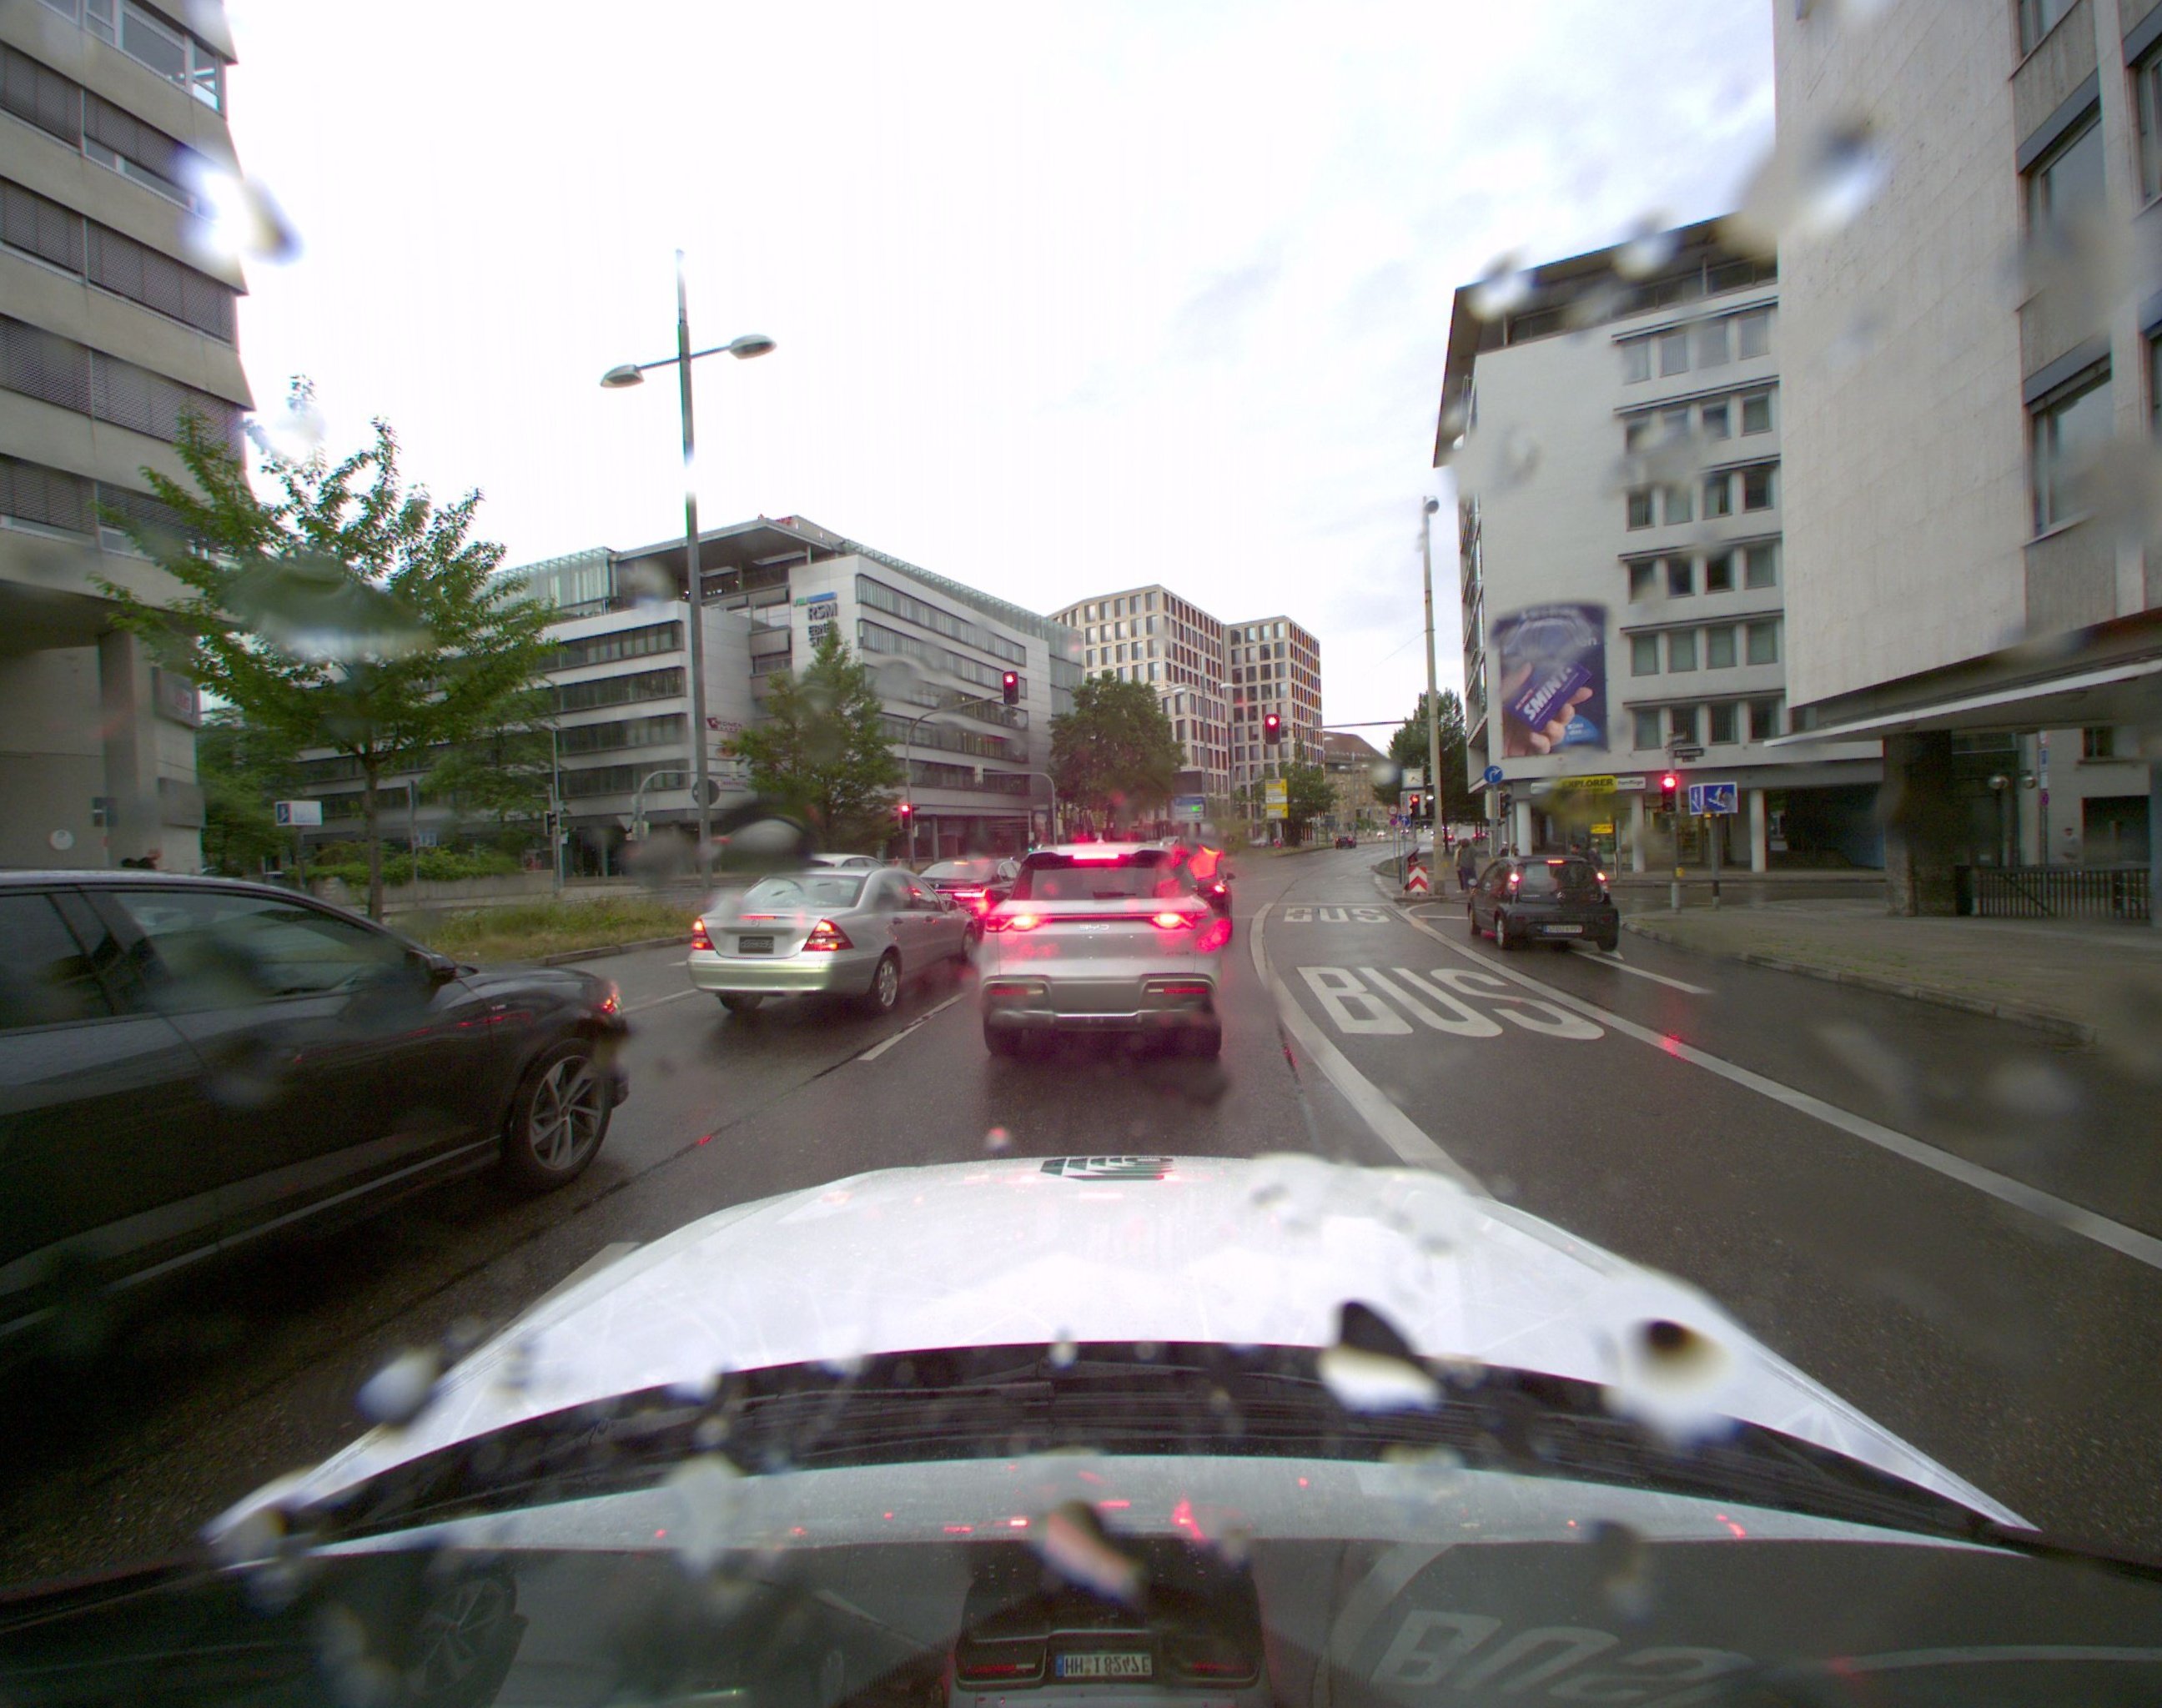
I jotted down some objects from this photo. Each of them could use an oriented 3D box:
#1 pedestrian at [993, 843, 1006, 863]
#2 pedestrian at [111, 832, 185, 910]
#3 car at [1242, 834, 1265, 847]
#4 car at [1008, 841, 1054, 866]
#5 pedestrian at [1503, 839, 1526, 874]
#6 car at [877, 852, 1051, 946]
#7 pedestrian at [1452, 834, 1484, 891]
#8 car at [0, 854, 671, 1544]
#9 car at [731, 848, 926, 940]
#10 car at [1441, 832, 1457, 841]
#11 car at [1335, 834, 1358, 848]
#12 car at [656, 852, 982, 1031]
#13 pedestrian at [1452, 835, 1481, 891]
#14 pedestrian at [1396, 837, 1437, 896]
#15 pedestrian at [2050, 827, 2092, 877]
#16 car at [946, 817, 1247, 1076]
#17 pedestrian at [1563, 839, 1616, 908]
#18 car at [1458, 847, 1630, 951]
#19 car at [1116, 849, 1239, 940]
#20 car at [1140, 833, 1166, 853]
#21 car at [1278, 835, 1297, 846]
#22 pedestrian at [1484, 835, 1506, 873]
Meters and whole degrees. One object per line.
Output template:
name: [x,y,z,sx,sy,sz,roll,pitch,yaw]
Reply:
pedestrian: [-7.300,-0.074,73.011,0.721,1.727,0.930,-1,0,23]
pedestrian: [-22.528,0.394,19.676,0.721,1.832,0.929,-1,0,17]
car: [25.253,-2.016,119.173,1.975,1.705,4.336,-1,2,29]
car: [-3.739,-0.042,62.009,1.976,1.705,4.022,-1,2,21]
pedestrian: [19.461,0.110,36.568,0.721,1.524,0.763,-1,-1,17]
car: [-2.047,0.755,15.570,1.941,1.530,4.014,-1,0,13]
pedestrian: [12.423,0.257,26.164,0.806,1.798,0.714,-1,0,17]
car: [-3.268,0.753,2.456,1.931,1.435,4.285,-2,0,-1]
car: [-4.833,0.696,16.272,1.871,1.596,4.015,-1,0,14]
car: [59.755,-2.808,132.255,1.892,1.510,4.384,0,1,31]
car: [29.534,-1.480,90.671,1.975,1.552,4.023,0,1,25]
car: [-2.539,0.757,9.104,1.672,1.486,4.208,-1,0,9]
pedestrian: [12.712,0.292,26.876,0.721,1.798,0.742,-1,0,17]
pedestrian: [10.173,0.380,24.710,0.920,1.738,0.729,-1,0,-3]
pedestrian: [36.698,-0.066,30.201,0.675,1.798,0.733,-2,-1,23]
car: [0.280,0.605,7.710,1.984,1.709,4.489,-1,1,5]
pedestrian: [13.363,0.502,21.419,0.800,1.755,1.005,0,-1,-44]
car: [7.489,0.645,13.518,1.650,1.473,3.498,-1,0,15]
car: [2.032,0.701,15.971,1.941,1.530,4.014,-1,0,13]
car: [7.991,-1.217,90.451,1.723,2.161,4.516,0,0,20]
car: [34.926,-2.218,137.726,1.975,1.705,4.336,-1,2,29]
pedestrian: [18.782,-0.003,36.964,0.721,1.668,0.694,-1,-1,17]
